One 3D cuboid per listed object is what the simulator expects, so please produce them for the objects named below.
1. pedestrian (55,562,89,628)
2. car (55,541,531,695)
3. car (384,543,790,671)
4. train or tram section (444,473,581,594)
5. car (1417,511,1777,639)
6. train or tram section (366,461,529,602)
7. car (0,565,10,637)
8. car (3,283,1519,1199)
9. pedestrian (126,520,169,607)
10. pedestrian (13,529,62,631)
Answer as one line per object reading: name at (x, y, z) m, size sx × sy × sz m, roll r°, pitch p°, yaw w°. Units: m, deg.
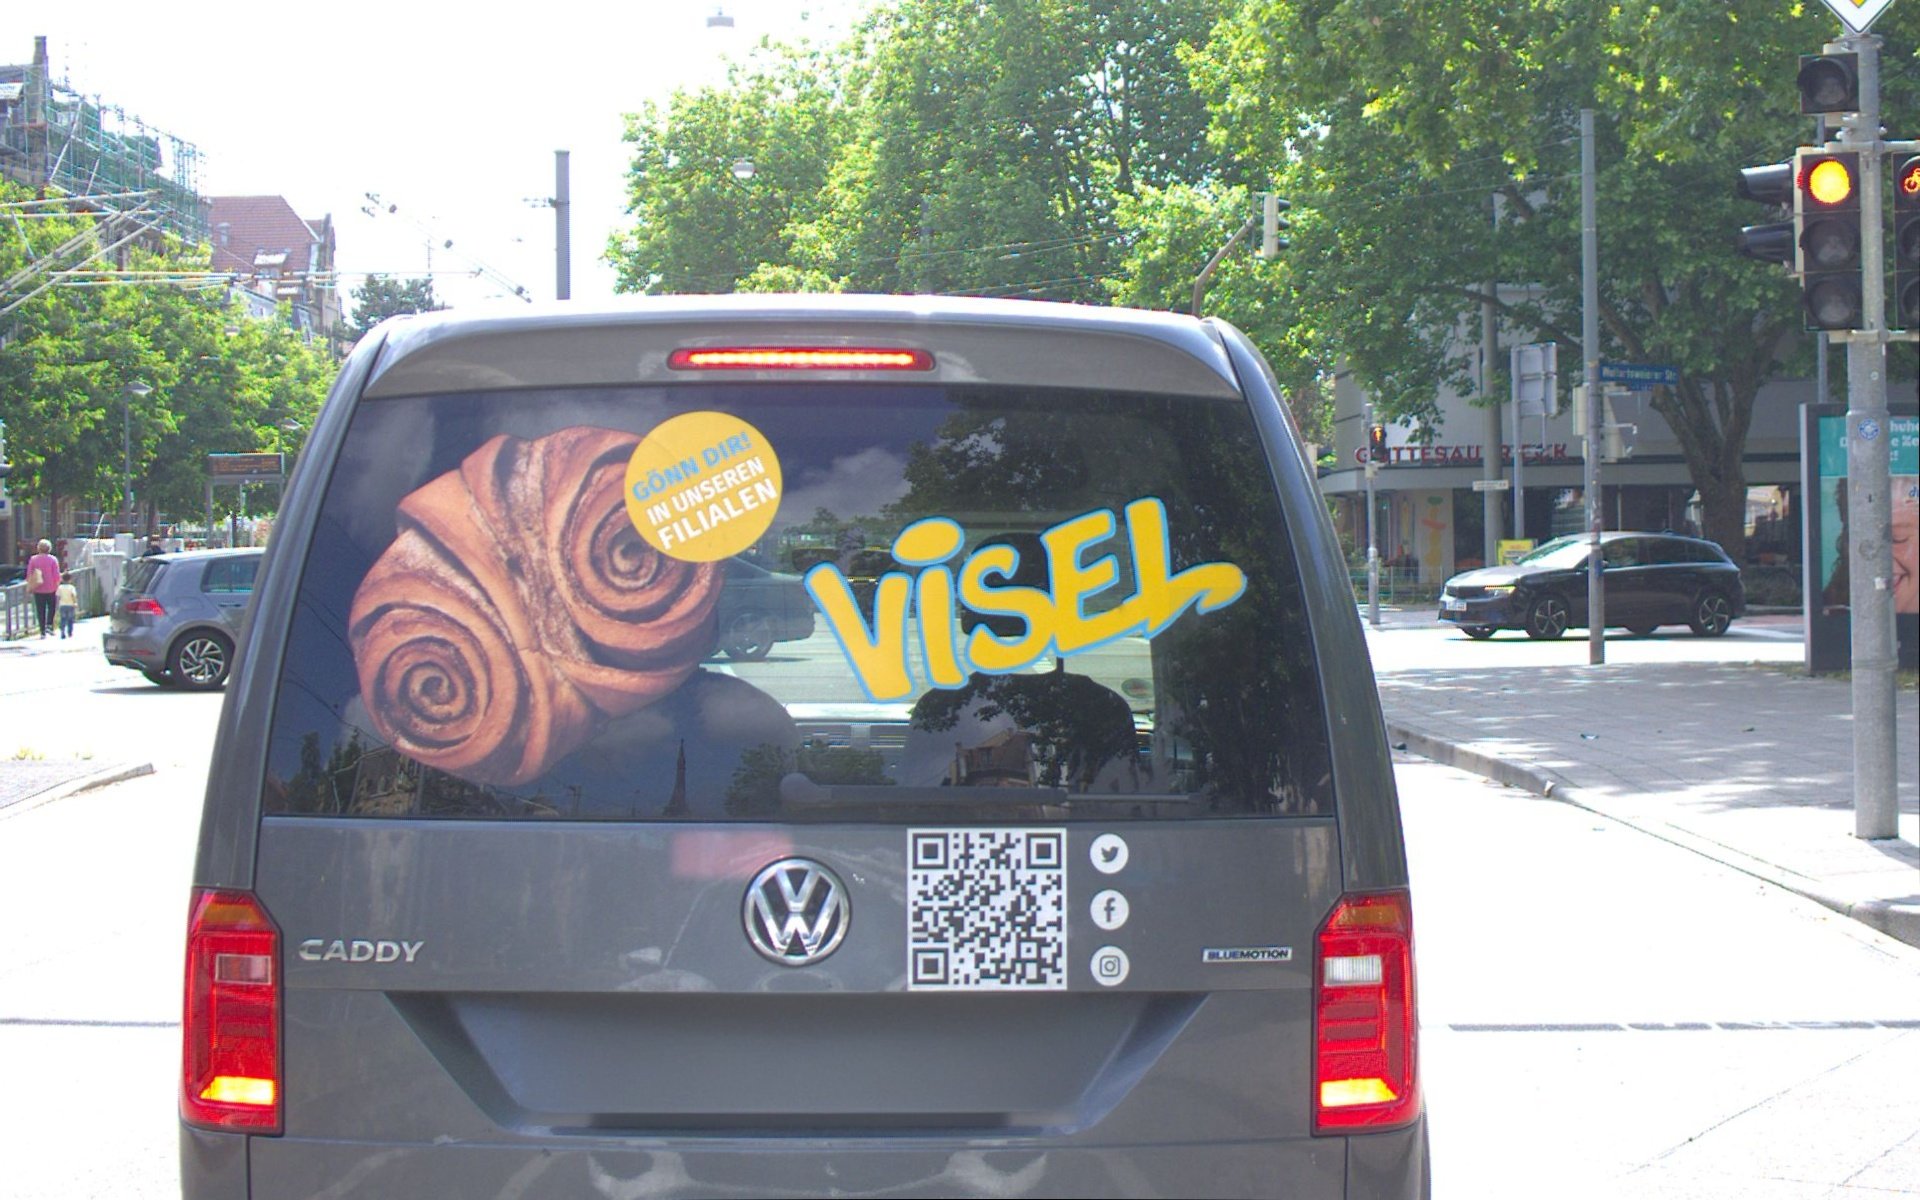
pedestrian at (-15.698, -0.091, 60.772) m, size 0.463 × 1.140 × 0.435 m, roll -1°, pitch 1°, yaw 0°
car at (-6.914, 0.157, 35.686) m, size 4.554 × 1.431 × 1.707 m, roll -2°, pitch 1°, yaw -24°
car at (-4.441, 0.057, 41.023) m, size 4.480 × 1.385 × 1.707 m, roll -2°, pitch 1°, yaw -24°
train or tram section at (-13.136, -1.982, 102.029) m, size 2.240 × 3.320 × 14.014 m, roll -1°, pitch 1°, yaw 0°
car at (8.610, -0.356, 46.435) m, size 4.479 × 1.596 × 1.864 m, roll -2°, pitch 1°, yaw -23°
train or tram section at (-13.053, -1.772, 88.545) m, size 2.240 × 3.320 × 12.972 m, roll -1°, pitch 1°, yaw 0°
car at (-27.780, 0.068, 94.865) m, size 1.993 × 2.007 × 4.000 m, roll -1°, pitch 1°, yaw 0°
car at (-0.243, 0.504, 5.728) m, size 1.750 × 1.802 × 3.475 m, roll 0°, pitch 1°, yaw 0°
pedestrian at (-15.847, -0.713, 67.054) m, size 0.659 × 1.679 × 0.655 m, roll -1°, pitch 1°, yaw 0°
pedestrian at (-16.328, -0.359, 60.874) m, size 0.659 × 1.778 × 0.660 m, roll -1°, pitch 1°, yaw 0°
